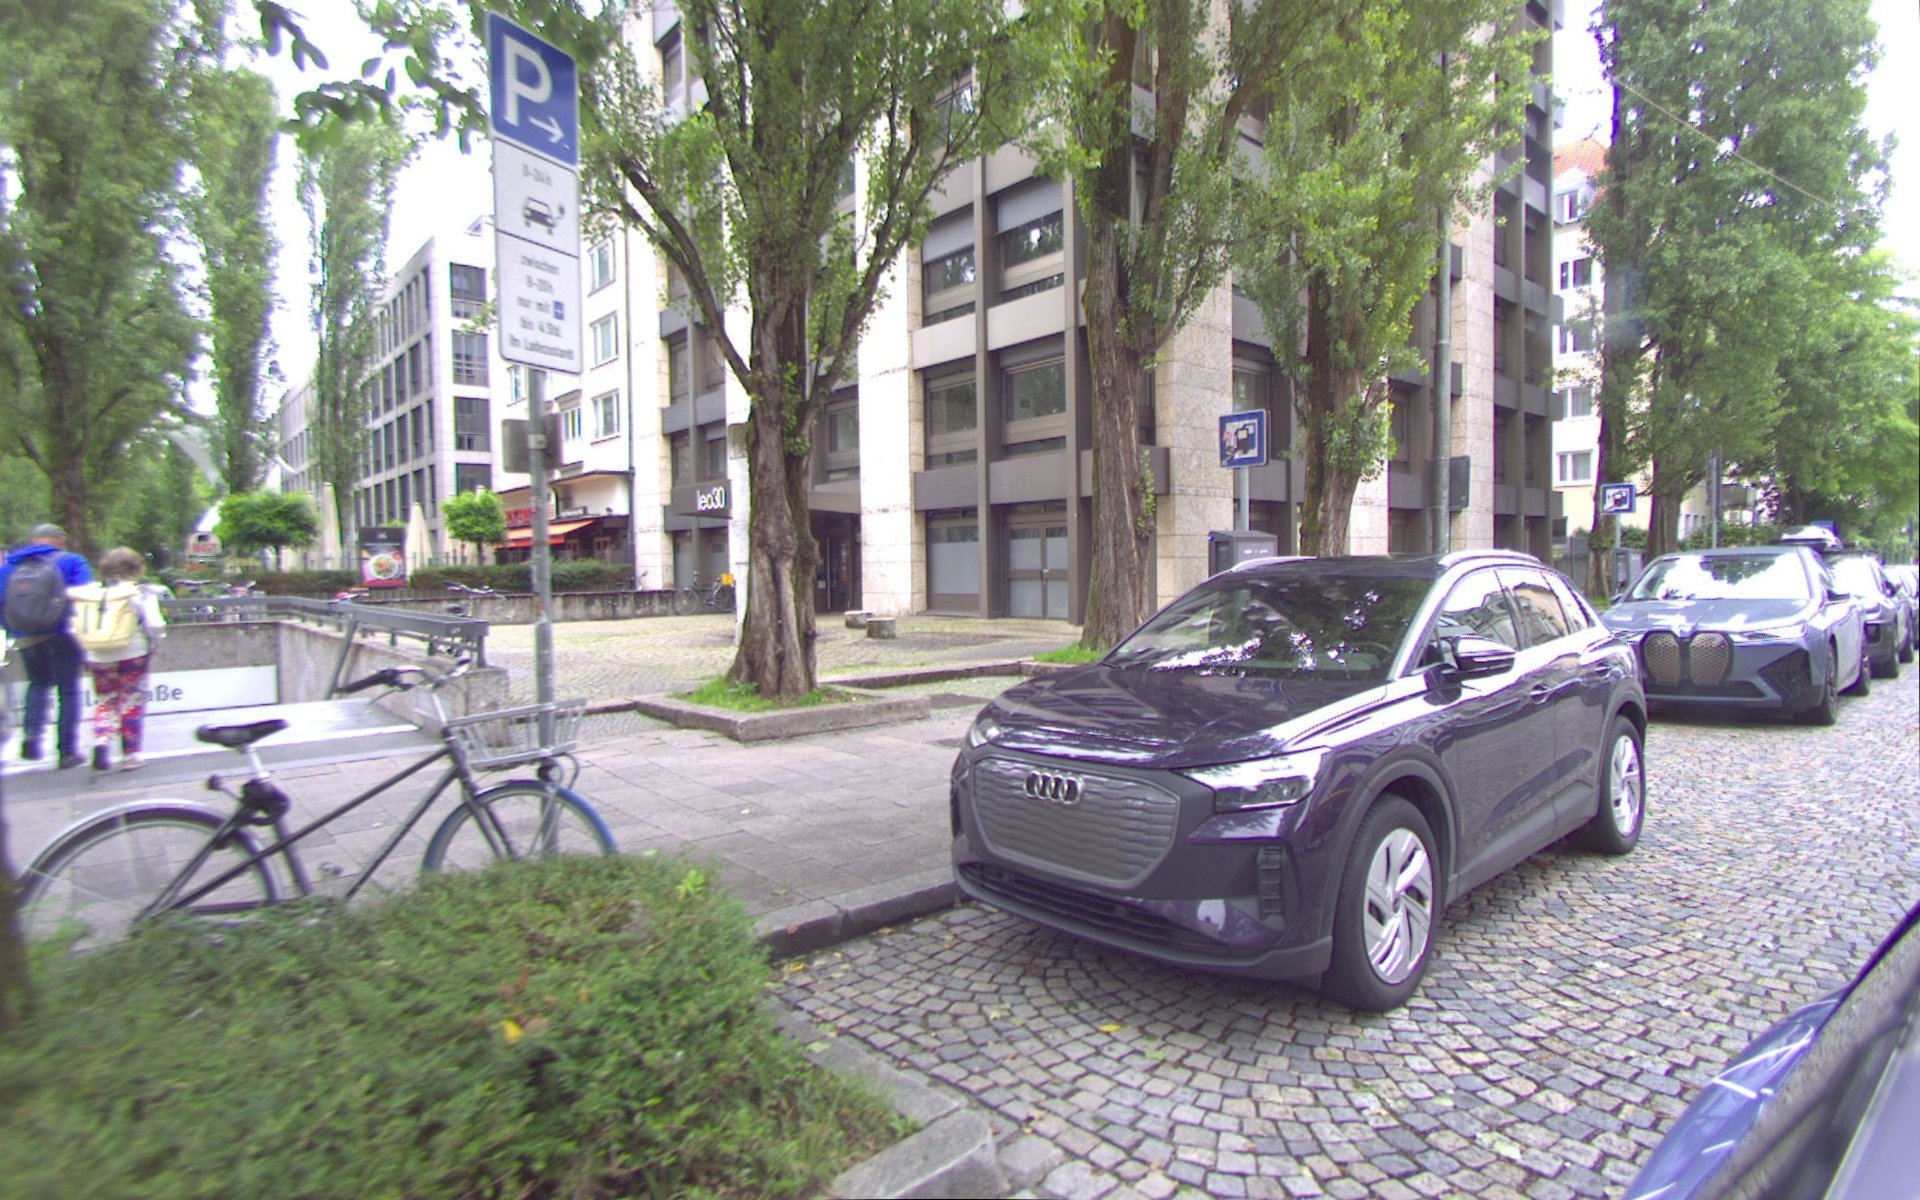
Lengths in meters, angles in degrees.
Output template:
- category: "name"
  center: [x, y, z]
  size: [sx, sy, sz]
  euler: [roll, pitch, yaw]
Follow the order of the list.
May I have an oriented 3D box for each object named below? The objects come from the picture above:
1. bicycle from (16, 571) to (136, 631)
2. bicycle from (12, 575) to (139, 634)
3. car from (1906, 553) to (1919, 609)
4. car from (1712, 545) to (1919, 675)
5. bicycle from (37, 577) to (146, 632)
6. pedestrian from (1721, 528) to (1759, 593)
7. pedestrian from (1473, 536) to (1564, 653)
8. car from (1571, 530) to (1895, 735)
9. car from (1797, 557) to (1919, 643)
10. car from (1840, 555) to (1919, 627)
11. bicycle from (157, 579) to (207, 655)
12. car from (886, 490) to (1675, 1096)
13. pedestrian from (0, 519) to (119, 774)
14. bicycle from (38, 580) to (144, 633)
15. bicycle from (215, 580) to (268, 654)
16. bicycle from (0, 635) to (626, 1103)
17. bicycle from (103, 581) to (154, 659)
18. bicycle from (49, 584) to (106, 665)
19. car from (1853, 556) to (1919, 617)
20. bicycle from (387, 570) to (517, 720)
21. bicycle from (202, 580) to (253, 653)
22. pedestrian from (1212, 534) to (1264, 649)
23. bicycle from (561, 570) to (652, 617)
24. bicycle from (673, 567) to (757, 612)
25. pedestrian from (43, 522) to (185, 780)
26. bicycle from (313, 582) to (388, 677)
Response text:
- category: "bicycle"
  center: [-18.529, 0.006, 21.263]
  size: [1.836, 1.174, 0.587]
  euler: [-3, 2, -39]
- category: "bicycle"
  center: [-18.922, 0.070, 21.713]
  size: [1.996, 1.174, 0.587]
  euler: [-3, 2, -39]
- category: "car"
  center: [28.043, -0.587, 28.513]
  size: [3.811, 1.517, 1.864]
  euler: [-3, 2, -44]
- category: "car"
  center: [12.559, 0.035, 14.616]
  size: [4.270, 1.602, 1.996]
  euler: [-3, 2, -43]
- category: "bicycle"
  center: [-19.945, 0.078, 23.286]
  size: [1.836, 1.174, 0.587]
  euler: [-3, 2, -39]
- category: "pedestrian"
  center: [19.087, -0.968, 24.752]
  size: [0.698, 1.556, 0.644]
  euler: [-3, 2, -44]
- category: "pedestrian"
  center: [8.658, -0.105, 15.710]
  size: [0.893, 1.735, 0.871]
  euler: [-2, 2, -22]
- category: "car"
  center: [8.398, 0.178, 10.819]
  size: [4.596, 1.721, 2.015]
  euler: [-3, 2, -43]
- category: "car"
  center: [17.163, -0.046, 18.882]
  size: [4.134, 1.407, 1.721]
  euler: [-3, 0, -42]
- category: "car"
  center: [20.506, -0.239, 22.026]
  size: [3.502, 1.448, 1.602]
  euler: [-3, 0, -42]
- category: "bicycle"
  center: [-12.976, 0.252, 16.854]
  size: [0.577, 1.174, 1.867]
  euler: [-2, 2, -39]
- category: "car"
  center: [1.859, 0.466, 4.988]
  size: [4.132, 1.721, 1.922]
  euler: [-3, 2, -43]
- category: "pedestrian"
  center: [-6.545, 0.296, 7.236]
  size: [0.651, 1.717, 0.807]
  euler: [-2, 2, -31]
- category: "bicycle"
  center: [-20.353, 0.136, 23.765]
  size: [1.836, 1.174, 0.587]
  euler: [-2, 2, -39]
- category: "bicycle"
  center: [-12.289, 0.260, 17.290]
  size: [0.577, 1.174, 1.867]
  euler: [-2, 2, -39]
- category: "bicycle"
  center: [-2.107, 0.751, 3.315]
  size: [1.840, 1.150, 0.476]
  euler: [-2, 2, -32]
- category: "bicycle"
  center: [-13.496, 0.286, 16.450]
  size: [0.577, 1.174, 1.867]
  euler: [-2, 2, -39]
- category: "bicycle"
  center: [-13.967, 0.352, 16.045]
  size: [0.577, 1.174, 1.867]
  euler: [-2, 2, -39]
- category: "car"
  center: [23.922, -0.366, 25.276]
  size: [3.809, 1.405, 1.996]
  euler: [-3, 2, -42]
- category: "bicycle"
  center: [-4.953, 0.373, 9.805]
  size: [0.709, 1.292, 1.867]
  euler: [-2, 2, -39]
- category: "bicycle"
  center: [-12.495, 0.248, 17.243]
  size: [0.577, 1.174, 1.867]
  euler: [-2, 2, -39]
- category: "pedestrian"
  center: [4.090, -0.140, 14.864]
  size: [0.558, 1.648, 0.490]
  euler: [-2, 2, -38]
- category: "bicycle"
  center: [-9.473, -0.205, 27.156]
  size: [2.207, 1.169, 0.647]
  euler: [-3, 2, -41]
- category: "bicycle"
  center: [-6.769, -0.307, 28.019]
  size: [2.207, 1.169, 0.647]
  euler: [-3, 2, -41]
- category: "pedestrian"
  center: [-5.970, 0.318, 7.189]
  size: [0.599, 1.701, 0.846]
  euler: [-2, 2, -31]
- category: "bicycle"
  center: [-8.226, 0.356, 13.627]
  size: [0.577, 1.174, 1.867]
  euler: [-2, 2, -39]
